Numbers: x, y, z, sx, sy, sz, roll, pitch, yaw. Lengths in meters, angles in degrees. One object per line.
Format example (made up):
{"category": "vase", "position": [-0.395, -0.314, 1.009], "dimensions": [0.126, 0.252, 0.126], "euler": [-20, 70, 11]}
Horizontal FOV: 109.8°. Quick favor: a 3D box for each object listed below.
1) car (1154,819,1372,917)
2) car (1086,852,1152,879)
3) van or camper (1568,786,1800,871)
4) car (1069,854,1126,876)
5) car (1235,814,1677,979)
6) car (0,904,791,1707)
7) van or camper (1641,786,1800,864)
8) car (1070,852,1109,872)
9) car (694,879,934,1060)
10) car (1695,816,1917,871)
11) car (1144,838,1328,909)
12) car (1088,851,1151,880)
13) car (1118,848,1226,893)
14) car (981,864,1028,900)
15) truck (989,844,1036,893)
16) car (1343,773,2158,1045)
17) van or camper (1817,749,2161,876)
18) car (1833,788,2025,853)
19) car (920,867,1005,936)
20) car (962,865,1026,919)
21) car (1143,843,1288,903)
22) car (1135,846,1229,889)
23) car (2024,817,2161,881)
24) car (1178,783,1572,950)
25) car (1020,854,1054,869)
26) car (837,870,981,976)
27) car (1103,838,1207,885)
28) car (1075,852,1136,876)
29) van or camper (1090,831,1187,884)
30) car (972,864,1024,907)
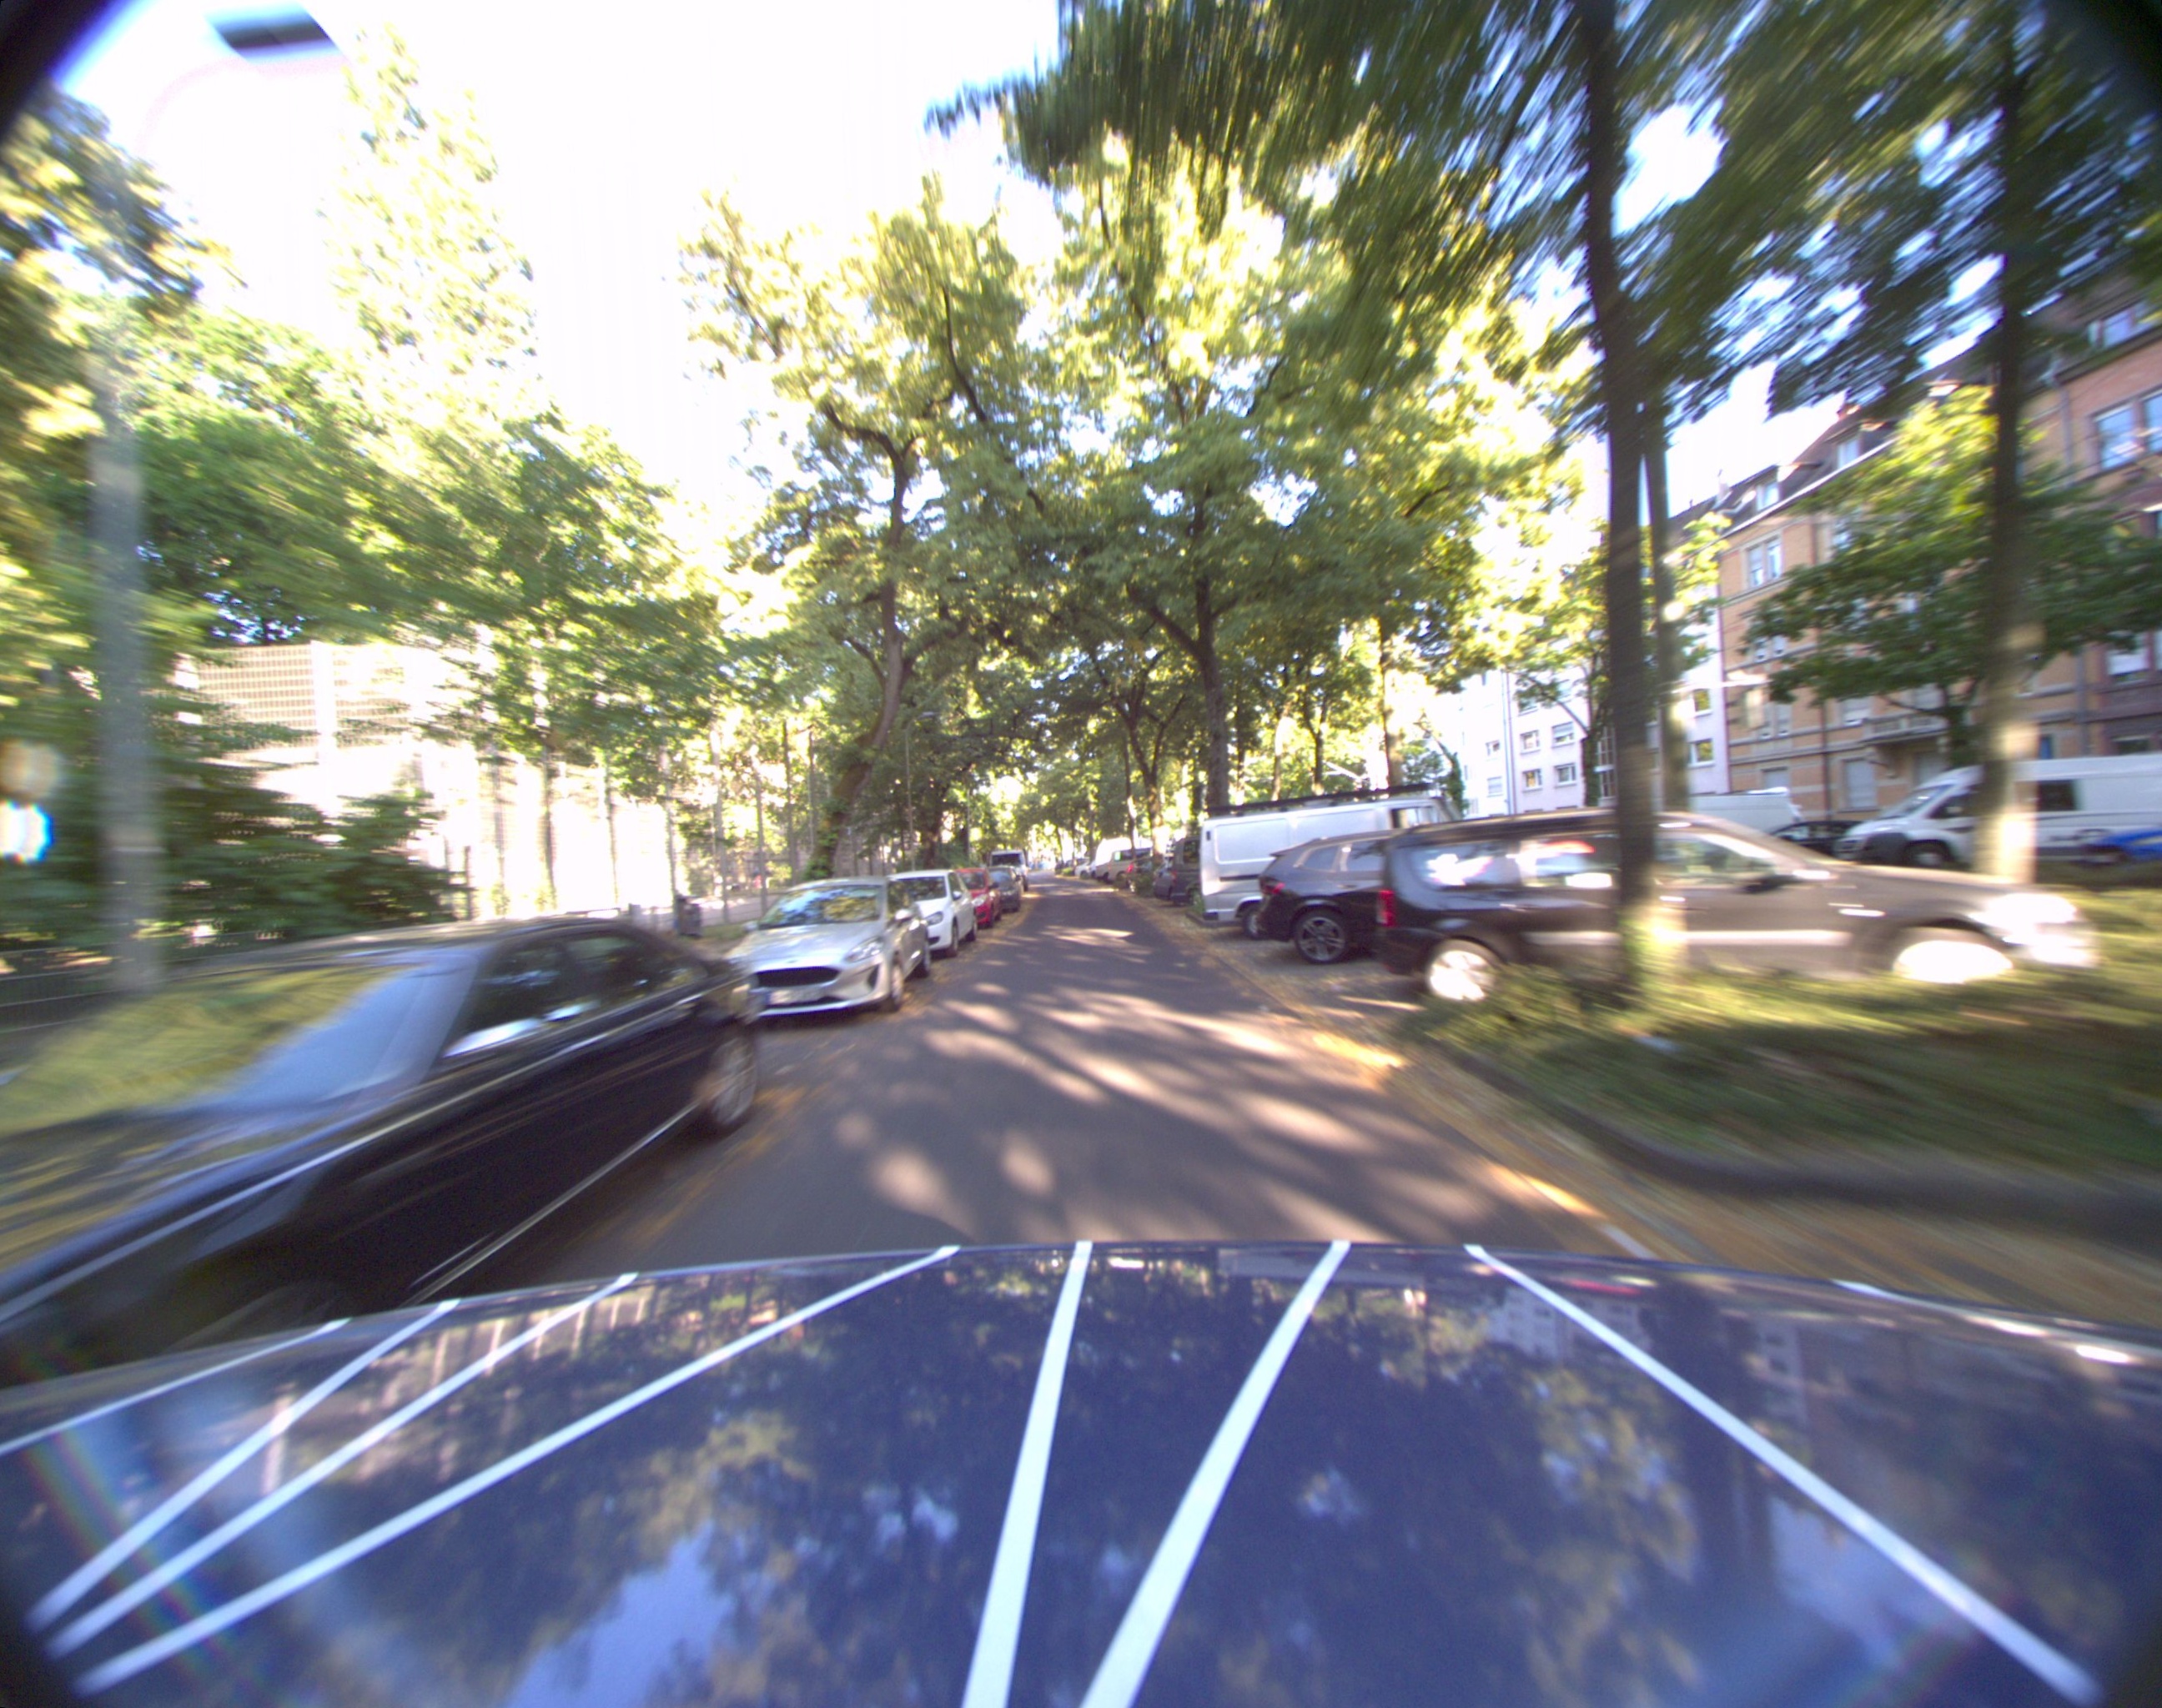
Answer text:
{"category": "car", "position": [4.441, 0.374, 18.754], "dimensions": [4.702, 1.931, 1.937], "euler": [-6, 1, 32]}
{"category": "car", "position": [2.748, 0.823, 55.084], "dimensions": [4.235, 1.432, 1.859], "euler": [-6, 1, 24]}
{"category": "van or camper", "position": [19.750, -0.780, 25.278], "dimensions": [5.664, 2.454, 2.003], "euler": [-2, 0, 23]}
{"category": "car", "position": [1.406, 0.930, 64.120], "dimensions": [4.306, 1.396, 1.746], "euler": [-6, 0, 21]}
{"category": "car", "position": [4.509, 0.547, 9.767], "dimensions": [4.510, 1.607, 1.937], "euler": [-6, 1, 23]}
{"category": "car", "position": [-2.944, 1.114, 3.082], "dimensions": [1.685, 1.415, 4.658], "euler": [-3, 0, 0]}
{"category": "van or camper", "position": [27.398, -1.152, 32.880], "dimensions": [2.080, 3.091, 5.513], "euler": [-1, 0, -3]}
{"category": "car", "position": [0.817, 0.810, 72.947], "dimensions": [3.347, 1.558, 1.574], "euler": [-6, 0, 22]}
{"category": "car", "position": [-2.867, 1.135, 9.099], "dimensions": [1.685, 1.445, 4.074], "euler": [-3, 0, -5]}
{"category": "car", "position": [20.518, -0.273, 21.790], "dimensions": [4.313, 1.354, 1.734], "euler": [-2, 0, 31]}
{"category": "car", "position": [4.340, 0.580, 21.497], "dimensions": [4.561, 1.532, 1.937], "euler": [-6, 1, 32]}
{"category": "car", "position": [2.518, 0.737, 49.464], "dimensions": [3.543, 1.485, 1.828], "euler": [-6, 1, 28]}
{"category": "car", "position": [3.689, 0.670, 30.948], "dimensions": [3.816, 1.430, 1.828], "euler": [-6, 1, 33]}
{"category": "car", "position": [-3.406, 1.223, 34.493], "dimensions": [1.677, 1.389, 4.298], "euler": [-3, 0, -1]}
{"category": "truck", "position": [-3.746, 0.753, 42.787], "dimensions": [2.302, 2.372, 6.932], "euler": [-3, 0, -3]}
{"category": "car", "position": [4.824, 0.471, 6.426], "dimensions": [4.509, 1.607, 1.857], "euler": [-6, 1, 31]}
{"category": "van or camper", "position": [20.138, -0.817, 16.459], "dimensions": [5.538, 2.357, 2.311], "euler": [-2, 0, 26]}
{"category": "car", "position": [28.333, -1.056, 25.599], "dimensions": [1.856, 1.772, 3.916], "euler": [-6, -1, -3]}
{"category": "car", "position": [-2.892, 1.119, 19.215], "dimensions": [1.595, 1.445, 3.554], "euler": [-3, 0, -1]}
{"category": "car", "position": [-2.735, 1.149, 24.529], "dimensions": [1.677, 1.445, 3.948], "euler": [-3, 0, -2]}
{"category": "car", "position": [4.278, 0.612, 24.329], "dimensions": [4.084, 1.479, 1.786], "euler": [-6, 1, 30]}
{"category": "car", "position": [4.453, 0.593, 33.410], "dimensions": [3.543, 1.485, 1.828], "euler": [-6, 1, 28]}
{"category": "car", "position": [20.031, -0.129, 13.211], "dimensions": [4.157, 1.091, 1.830], "euler": [-2, 0, 26]}
{"category": "car", "position": [4.658, 0.284, 12.547], "dimensions": [5.502, 2.124, 2.084], "euler": [-6, 1, 29]}
{"category": "car", "position": [-6.407, 1.093, 109.759], "dimensions": [4.435, 1.613, 1.636], "euler": [-6, 1, 15]}
{"category": "car", "position": [-2.936, 1.112, 13.834], "dimensions": [1.685, 1.445, 4.075], "euler": [-3, 0, -1]}
{"category": "car", "position": [3.855, 0.416, 39.799], "dimensions": [4.875, 1.966, 2.048], "euler": [-6, 1, 27]}
{"category": "car", "position": [1.990, 0.807, 61.186], "dimensions": [4.457, 1.396, 1.859], "euler": [-6, 0, 24]}
{"category": "van or camper", "position": [3.243, 0.211, 43.075], "dimensions": [4.876, 2.456, 2.048], "euler": [-6, 1, 25]}
{"category": "car", "position": [-3.169, 1.180, 29.738], "dimensions": [1.677, 1.445, 3.948], "euler": [-3, 0, -2]}
